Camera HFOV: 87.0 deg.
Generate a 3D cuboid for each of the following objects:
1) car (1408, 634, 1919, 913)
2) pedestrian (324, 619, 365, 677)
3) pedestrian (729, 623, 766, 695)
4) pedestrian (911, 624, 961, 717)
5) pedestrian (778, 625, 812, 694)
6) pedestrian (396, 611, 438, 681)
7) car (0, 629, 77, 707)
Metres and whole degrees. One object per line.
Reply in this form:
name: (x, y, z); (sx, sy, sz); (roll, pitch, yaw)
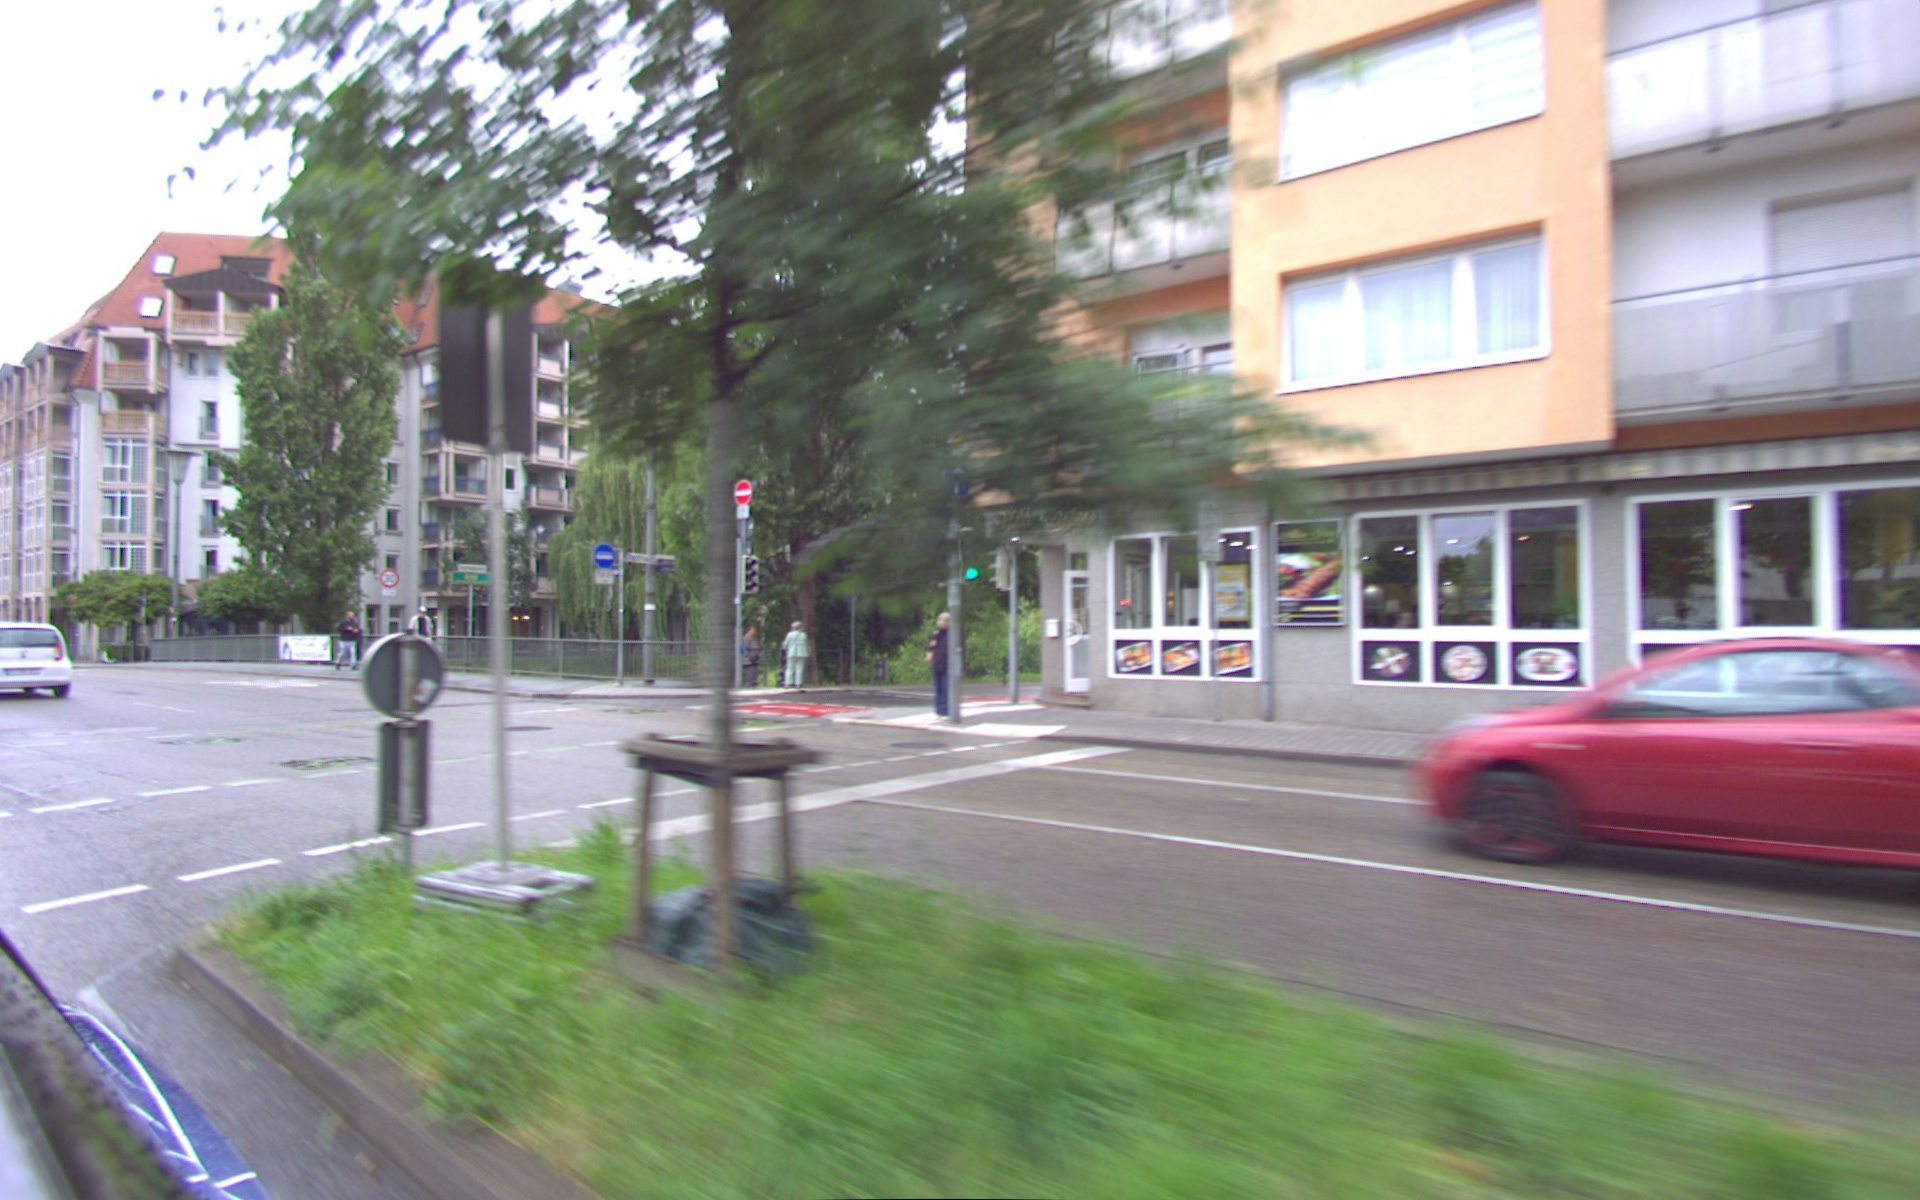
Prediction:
car: (4.905, 0.928, 6.063); (3.826, 1.404, 1.552); (-2, -4, 36)
pedestrian: (-18.433, 1.435, 30.329); (0.798, 1.708, 0.758); (-2, -3, 34)
pedestrian: (-5.104, 1.421, 24.350); (0.674, 1.704, 0.745); (0, -2, 5)
pedestrian: (-0.387, 1.148, 16.520); (0.604, 1.452, 0.558); (-3, 1, 17)
pedestrian: (-4.013, 1.440, 24.676); (0.736, 1.661, 0.683); (0, -2, 0)
pedestrian: (-15.075, 1.270, 28.096); (0.798, 1.901, 0.738); (-2, -3, 34)
car: (-19.369, 1.331, 20.370); (3.247, 1.476, 1.651); (-2, -3, 35)
